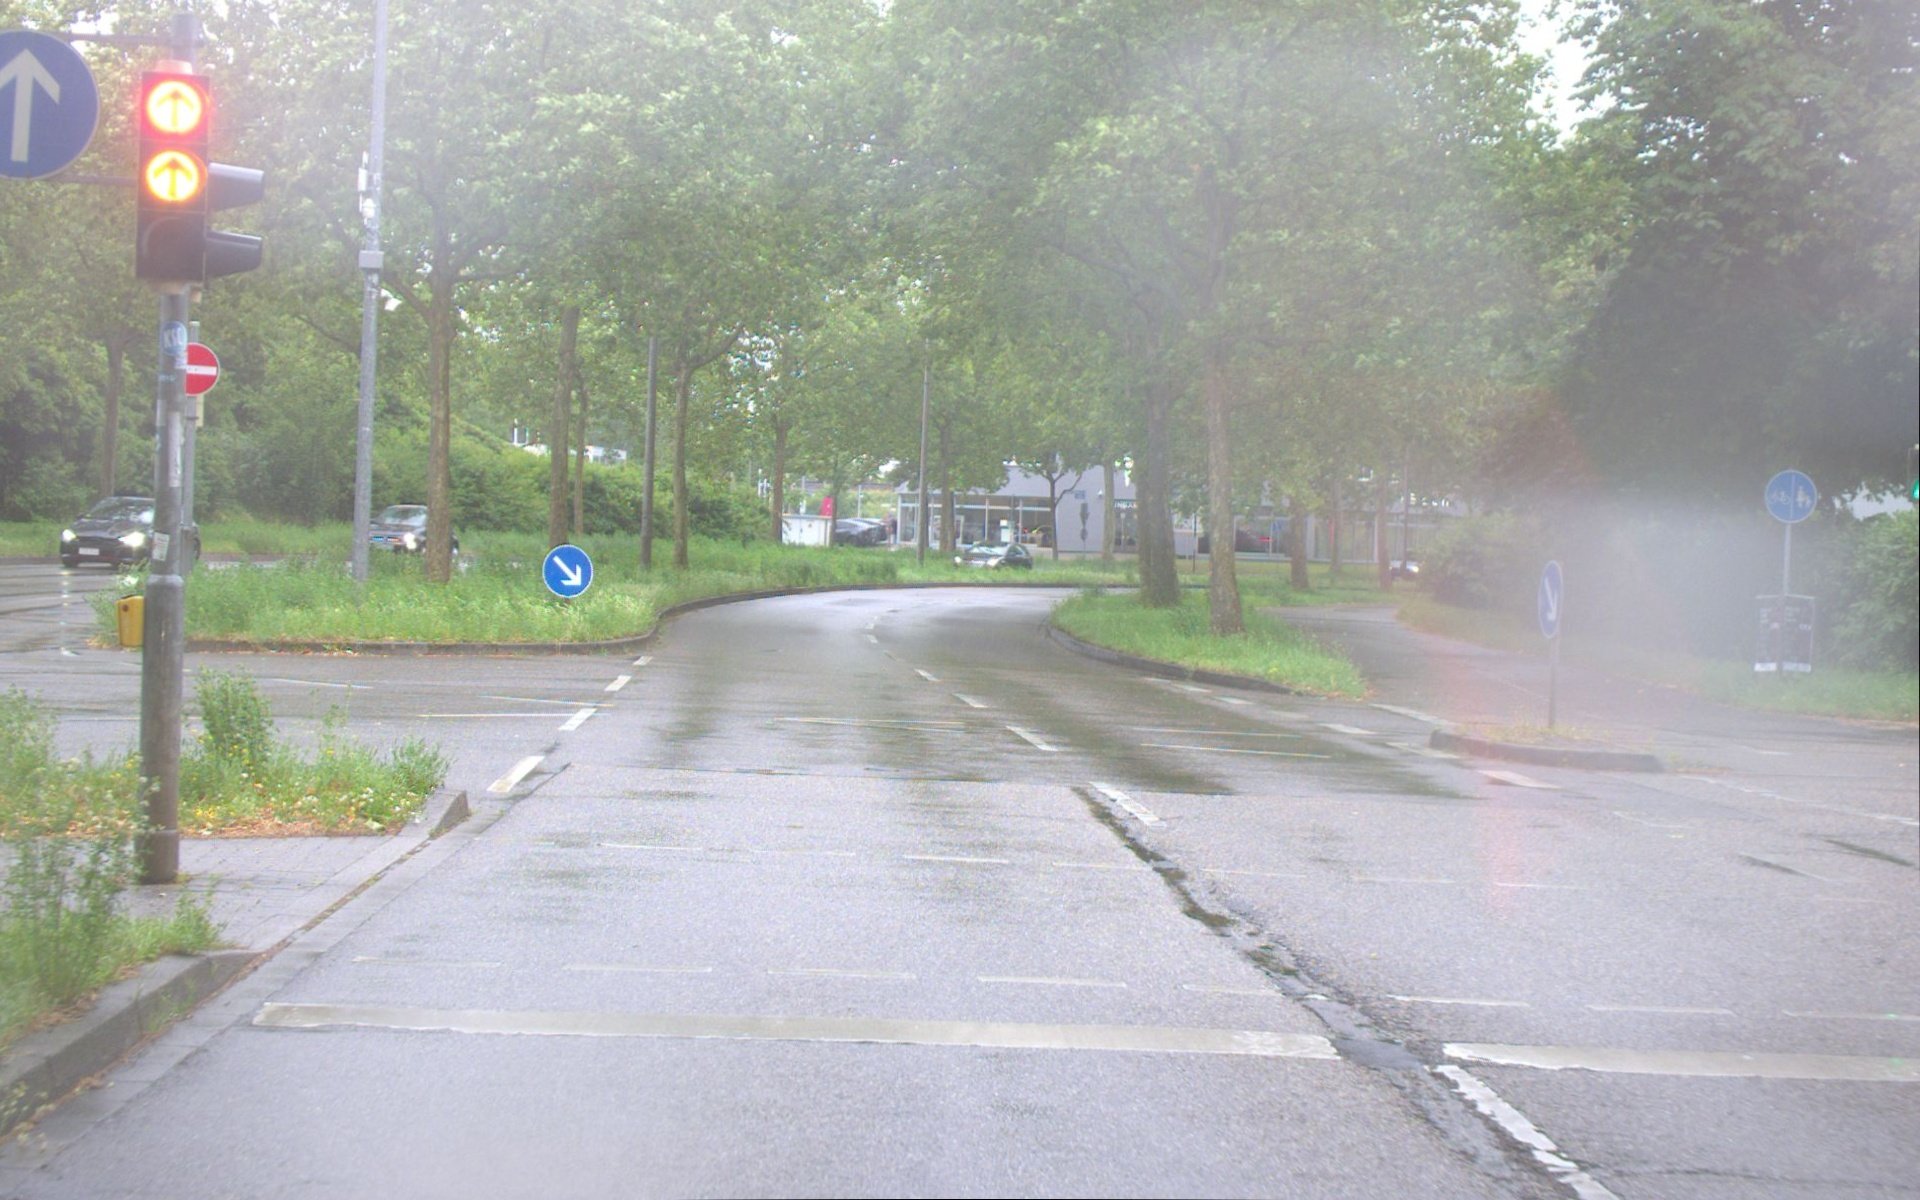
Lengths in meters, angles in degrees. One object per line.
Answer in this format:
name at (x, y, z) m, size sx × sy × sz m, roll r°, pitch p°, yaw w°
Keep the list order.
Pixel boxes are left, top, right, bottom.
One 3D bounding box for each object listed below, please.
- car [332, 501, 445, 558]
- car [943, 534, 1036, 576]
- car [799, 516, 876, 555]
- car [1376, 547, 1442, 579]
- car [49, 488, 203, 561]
car at (-14.423, -1.778, 86.902) m, size 1.588 × 1.368 × 4.261 m, roll 2°, pitch 1°, yaw 8°
car at (1.104, -1.652, 127.245) m, size 2.005 × 1.447 × 4.987 m, roll 2°, pitch 1°, yaw 18°
car at (-6.864, -3.620, 192.930) m, size 3.986 × 2.007 × 2.000 m, roll 2°, pitch 0°, yaw -10°
car at (23.120, -1.890, 176.831) m, size 1.974 × 1.558 × 4.724 m, roll 3°, pitch 1°, yaw 25°
car at (-16.645, -1.491, 68.779) m, size 1.587 × 1.368 × 4.261 m, roll 2°, pitch 1°, yaw 6°
